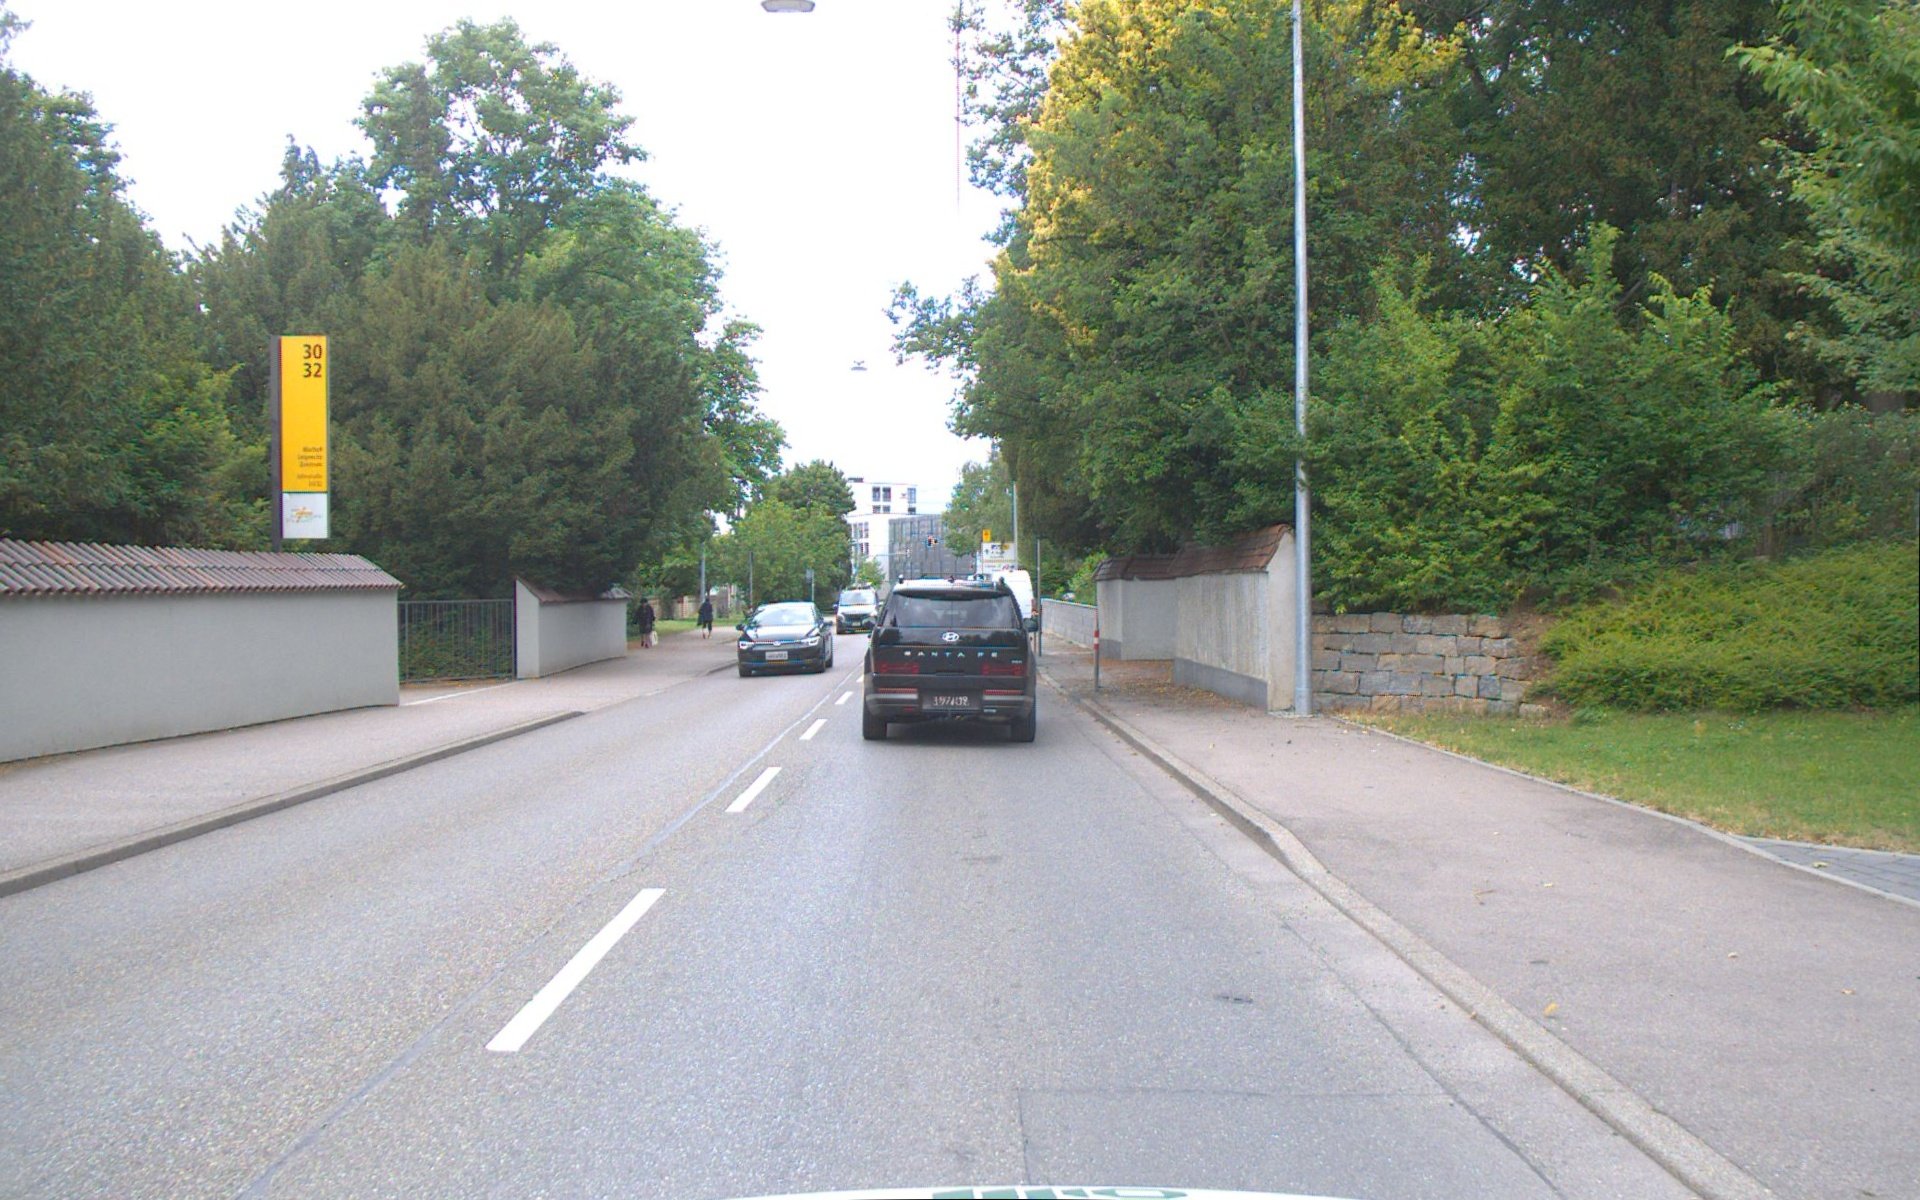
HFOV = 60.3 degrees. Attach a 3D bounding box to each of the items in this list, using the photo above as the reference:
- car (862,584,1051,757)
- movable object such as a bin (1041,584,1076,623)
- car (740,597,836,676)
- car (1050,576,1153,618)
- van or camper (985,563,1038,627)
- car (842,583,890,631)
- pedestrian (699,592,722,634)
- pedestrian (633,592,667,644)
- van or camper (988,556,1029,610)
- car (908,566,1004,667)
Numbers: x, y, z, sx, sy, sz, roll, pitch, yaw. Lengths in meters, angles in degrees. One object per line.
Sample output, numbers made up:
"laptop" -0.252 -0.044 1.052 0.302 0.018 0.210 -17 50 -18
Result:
"car" -0.037 0.701 18.851 1.923 1.741 4.000 0 1 0
"movable object such as a bin" 3.904 0.131 65.823 1.273 1.476 1.180 -2 0 -1
"car" -3.551 0.717 34.739 1.750 1.453 3.998 -2 1 -3
"car" 6.131 -0.136 71.969 4.303 1.681 1.830 -2 1 1
"van or camper" 2.264 -0.261 74.575 1.924 2.673 6.357 -3 1 -1
"car" -4.089 0.269 72.574 1.852 1.887 5.082 -5 1 -2
"pedestrian" -9.624 0.481 63.778 0.733 1.605 0.966 0 0 -1
"pedestrian" -9.652 0.564 51.534 0.907 1.588 0.901 1 -1 -5
"van or camper" 2.730 -0.967 93.499 1.924 2.845 5.286 -3 1 -1
"car" -0.119 0.313 35.790 1.924 2.036 3.999 -1 0 -1
